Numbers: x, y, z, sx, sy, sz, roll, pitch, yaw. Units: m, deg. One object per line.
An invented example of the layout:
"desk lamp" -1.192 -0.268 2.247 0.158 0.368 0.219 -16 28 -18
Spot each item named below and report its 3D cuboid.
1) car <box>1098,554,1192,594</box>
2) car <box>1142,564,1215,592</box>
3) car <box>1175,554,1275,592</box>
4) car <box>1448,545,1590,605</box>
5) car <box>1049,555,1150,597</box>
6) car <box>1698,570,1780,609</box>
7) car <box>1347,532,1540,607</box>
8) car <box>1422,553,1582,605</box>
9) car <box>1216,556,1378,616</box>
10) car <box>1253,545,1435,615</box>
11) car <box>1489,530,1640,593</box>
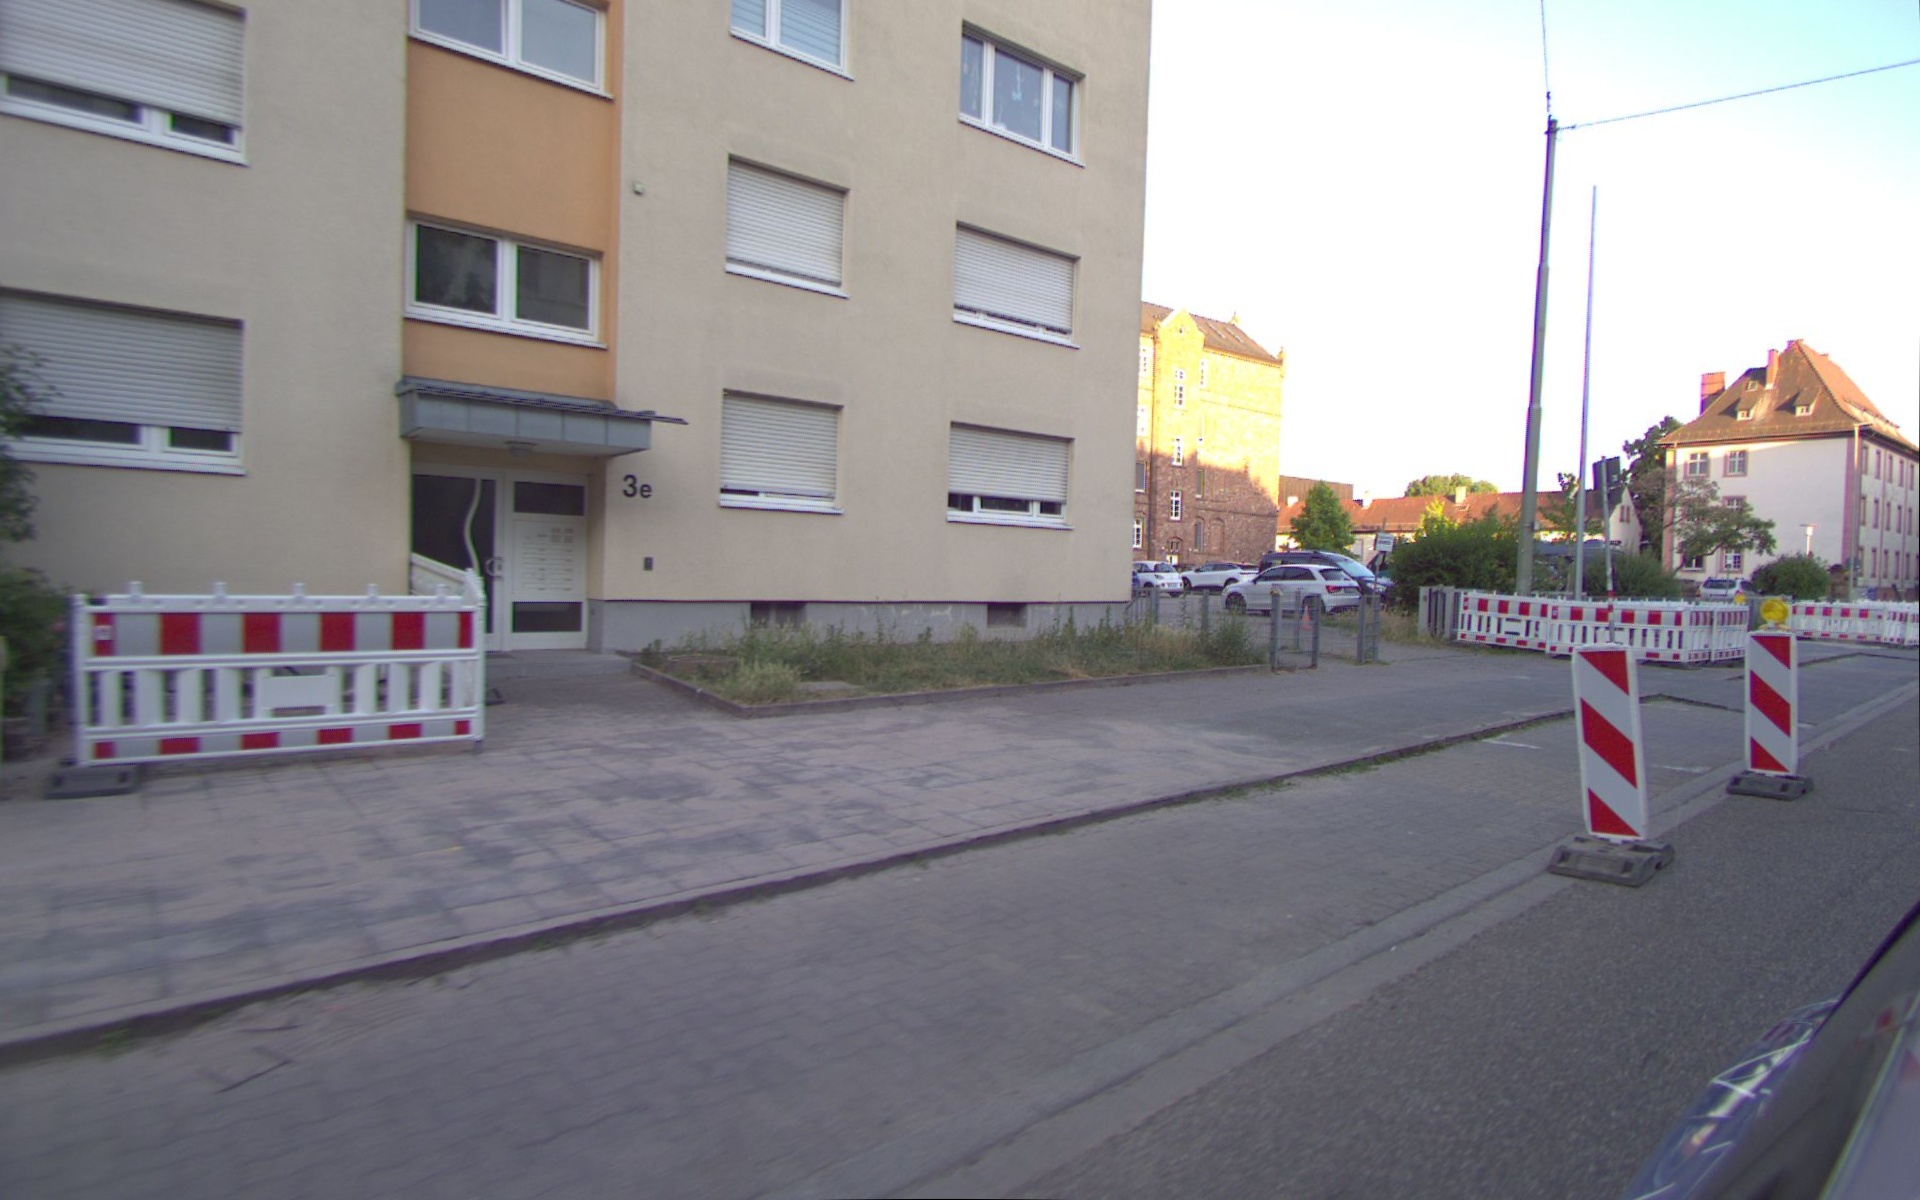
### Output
"car" 7.635 -1.099 42.137 1.791 1.536 3.736 0 2 -31
"car" 13.195 -1.332 61.227 1.793 1.536 4.148 0 3 -36
"car" 11.774 -1.218 45.151 1.962 1.536 3.932 0 3 -35
"car" 20.125 -0.928 36.573 1.962 2.038 4.001 0 2 -36
"car" 5.588 -1.001 41.060 1.946 1.536 3.947 0 3 -32
"car" 34.724 -0.466 45.050 4.723 1.650 1.919 0 2 -40
"car" 15.039 -0.970 31.777 2.245 2.156 5.041 0 2 -33
"car" 18.556 -0.758 34.827 1.963 1.669 4.438 0 2 -36
"car" 9.003 -0.418 27.304 1.664 1.470 3.841 0 3 -38
"car" 10.929 -0.630 29.073 1.969 1.832 4.491 0 3 -38
"car" 22.626 -1.443 38.033 1.963 2.224 4.438 0 2 -36
